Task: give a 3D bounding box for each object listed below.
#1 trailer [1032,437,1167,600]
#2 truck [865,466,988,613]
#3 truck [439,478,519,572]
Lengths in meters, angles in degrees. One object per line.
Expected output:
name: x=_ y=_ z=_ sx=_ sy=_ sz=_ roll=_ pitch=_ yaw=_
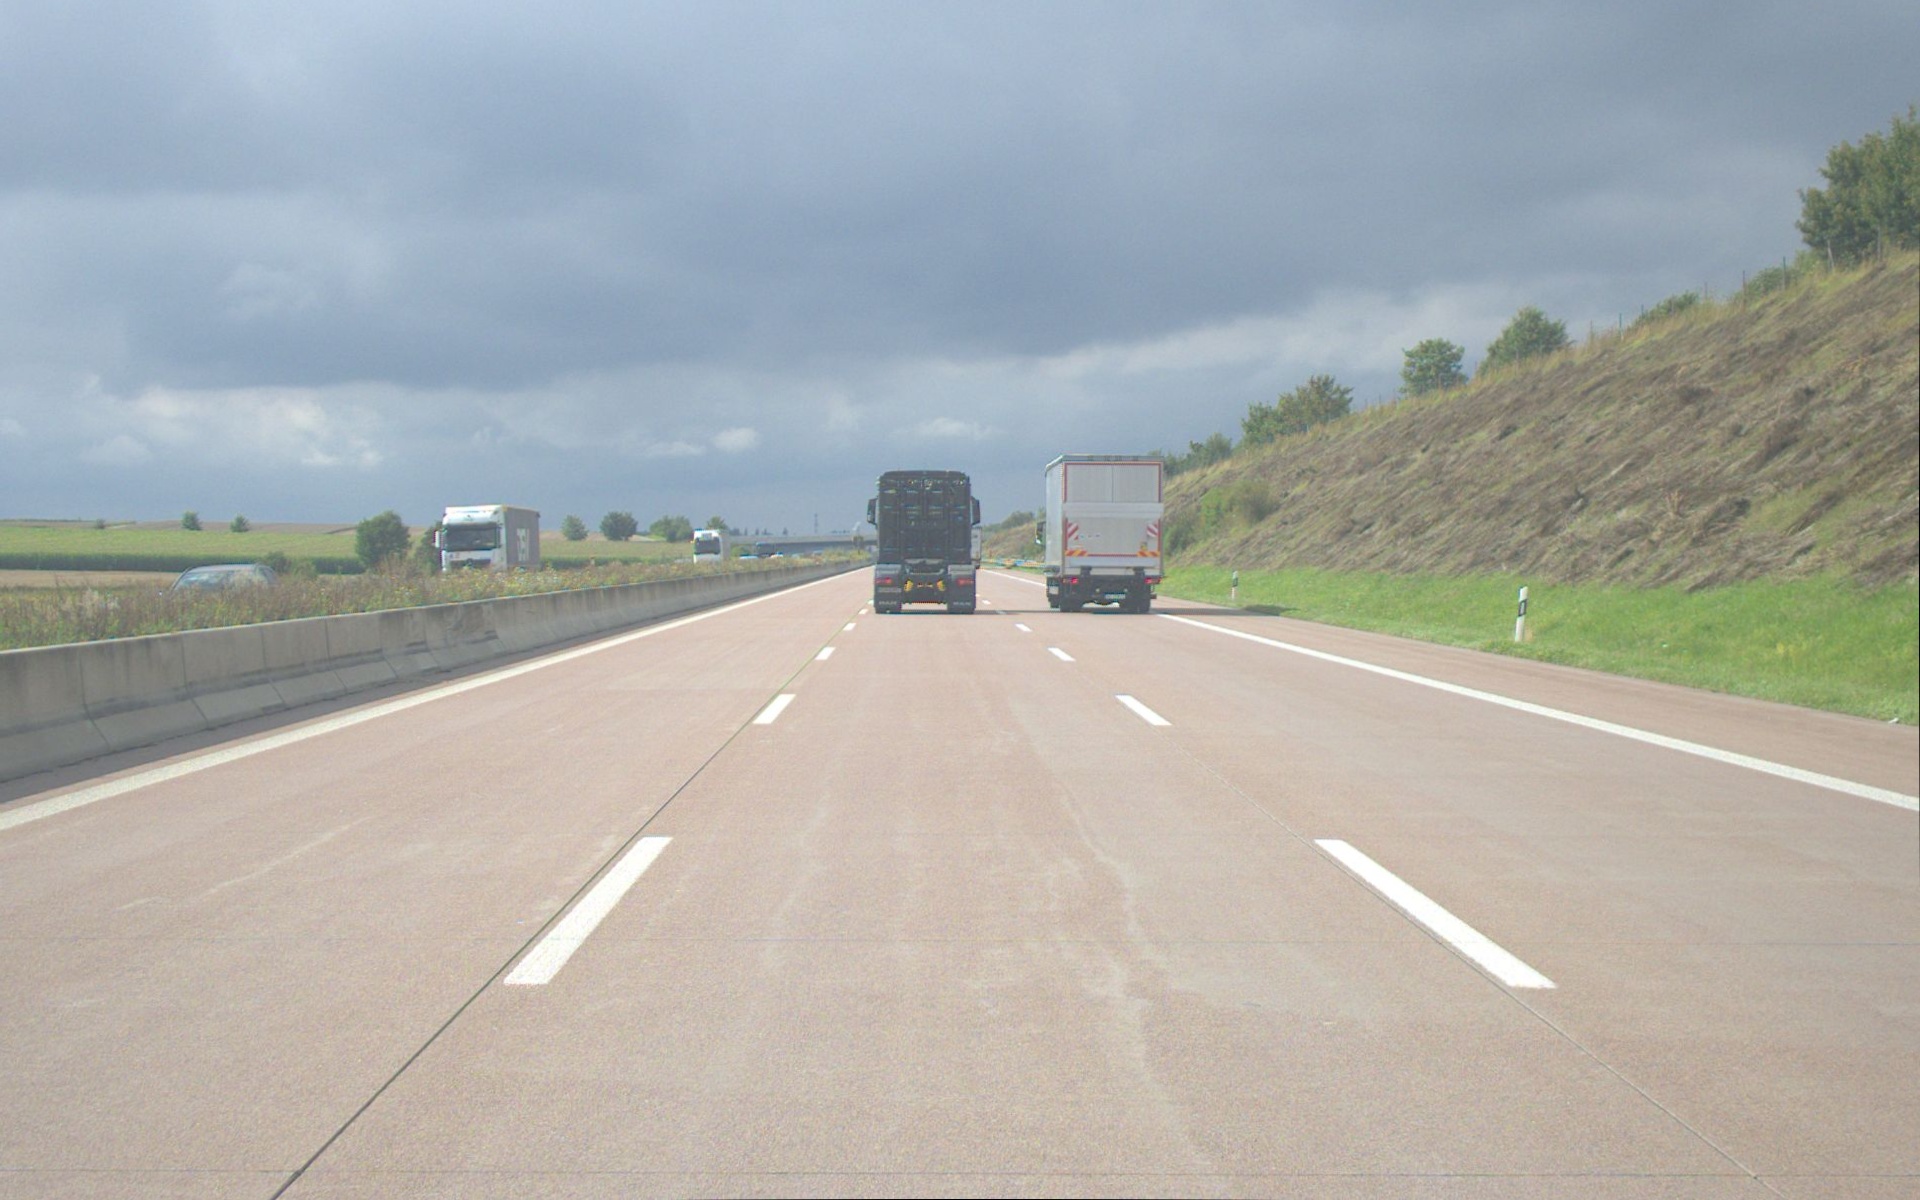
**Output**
trailer: x=3.543 y=-2.059 z=89.455 sx=2.747 sy=3.998 sz=8.671 roll=0 pitch=1 yaw=-3
truck: x=-0.914 y=-1.497 z=87.283 sx=2.847 sy=3.537 sz=8.320 roll=0 pitch=1 yaw=-2
truck: x=-20.747 y=-3.208 z=148.399 sx=2.770 sy=3.945 sz=5.291 roll=-1 pitch=1 yaw=-1
